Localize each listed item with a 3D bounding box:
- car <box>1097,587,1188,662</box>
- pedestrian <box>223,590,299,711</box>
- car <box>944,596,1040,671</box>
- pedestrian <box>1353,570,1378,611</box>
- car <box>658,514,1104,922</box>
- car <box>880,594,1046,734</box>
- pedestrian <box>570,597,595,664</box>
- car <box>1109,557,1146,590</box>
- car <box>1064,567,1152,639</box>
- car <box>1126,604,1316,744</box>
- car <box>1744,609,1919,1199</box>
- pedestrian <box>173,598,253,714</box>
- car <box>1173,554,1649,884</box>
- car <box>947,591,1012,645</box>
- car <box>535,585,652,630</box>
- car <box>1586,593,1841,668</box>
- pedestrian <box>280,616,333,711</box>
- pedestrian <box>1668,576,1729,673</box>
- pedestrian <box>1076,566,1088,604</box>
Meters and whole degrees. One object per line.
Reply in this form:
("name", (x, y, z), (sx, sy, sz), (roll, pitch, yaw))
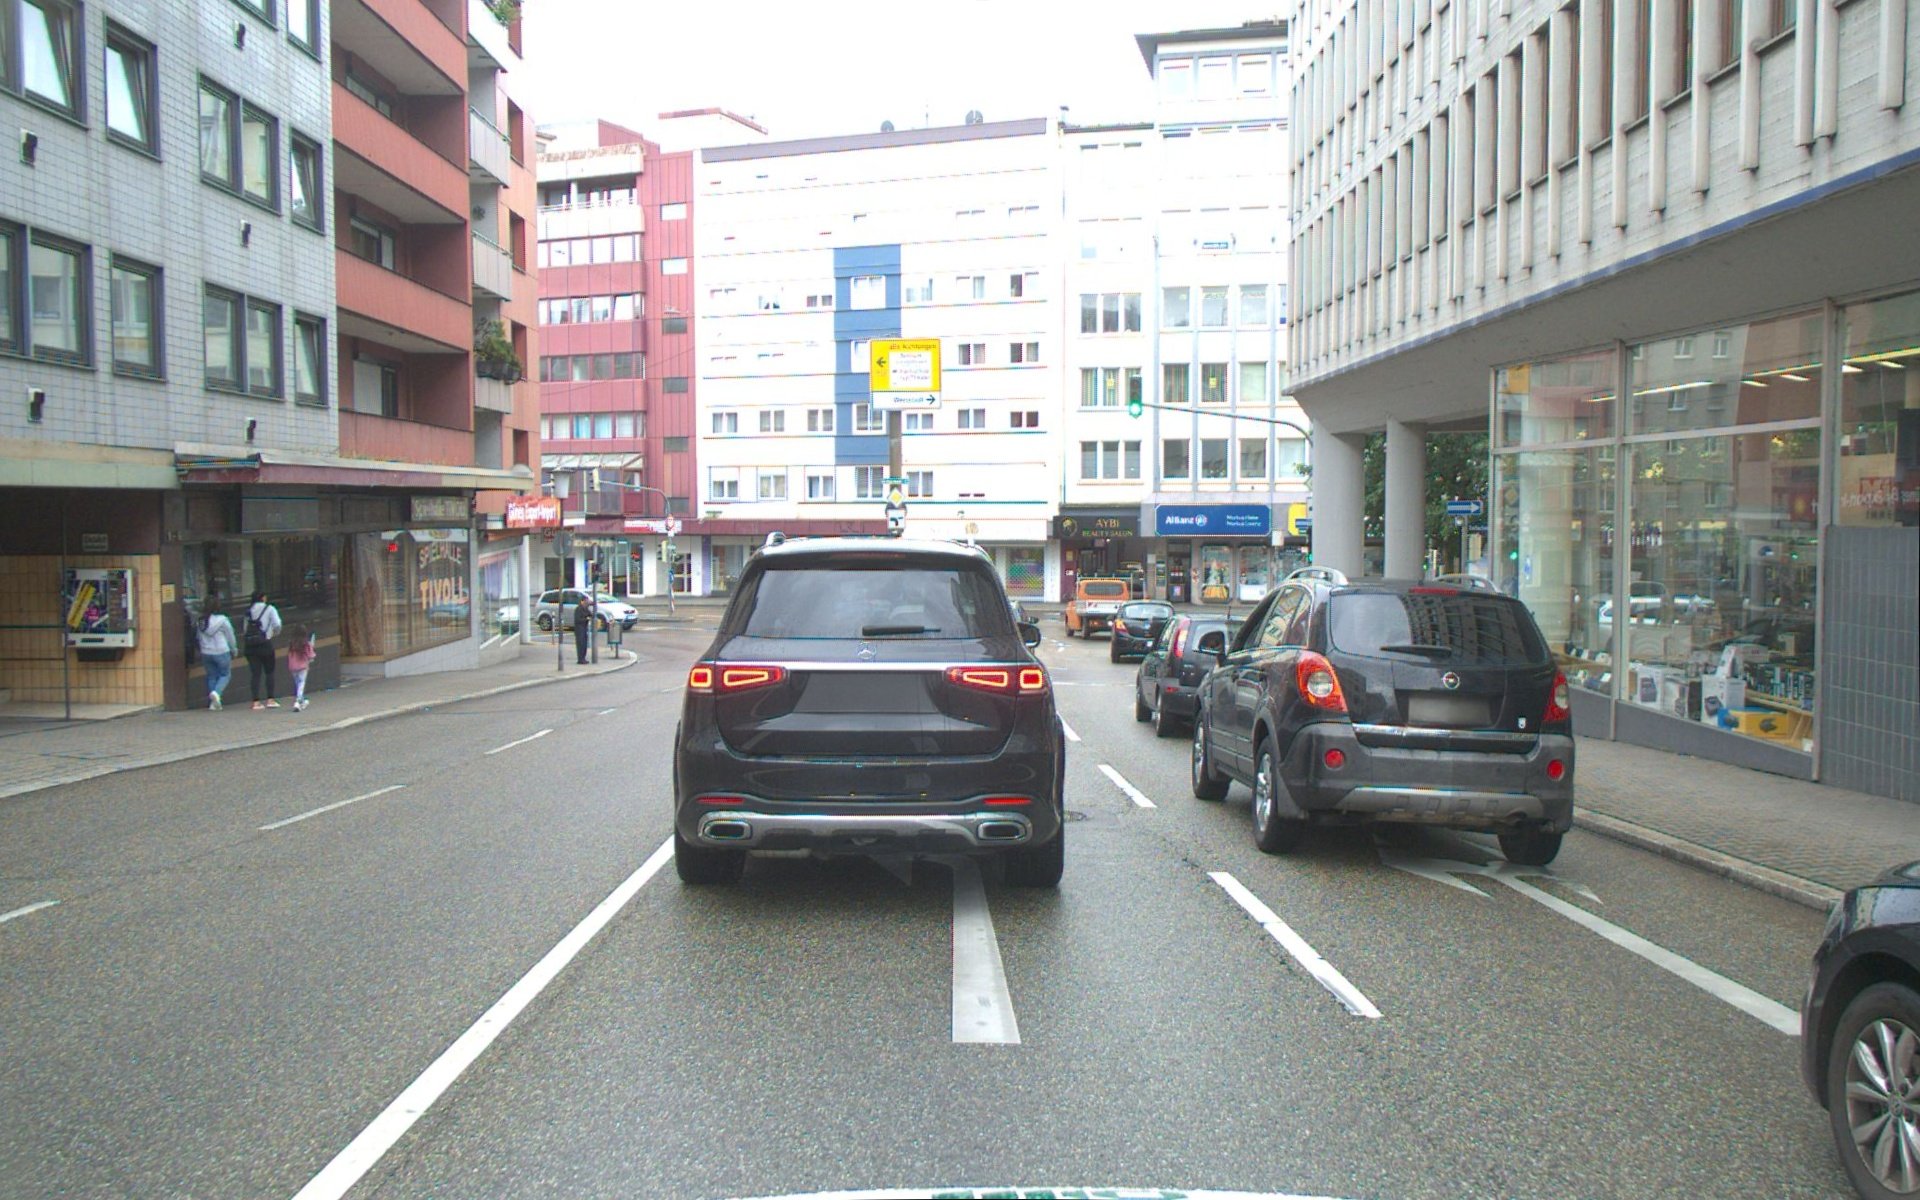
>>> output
("car", (4.404, 0.599, 40.484), (1.785, 1.687, 4.496), (1, -1, 1))
("pedestrian", (-10.180, 0.722, 24.116), (0.812, 1.719, 0.722), (2, 0, -10))
("car", (0.642, 0.678, 36.060), (1.953, 1.512, 4.236), (-1, 0, -1))
("pedestrian", (17.926, -0.424, 73.157), (1.008, 1.717, 0.831), (0, 6, 8))
("car", (-0.439, 0.530, 9.868), (1.998, 1.830, 4.661), (1, 0, -2))
("car", (-0.045, 0.712, 20.731), (1.836, 1.521, 4.398), (1, 0, -2))
("pedestrian", (-9.874, 0.789, 43.312), (0.543, 1.727, 0.623), (0, 0, -4))
("car", (8.996, -1.423, 88.574), (1.759, 1.699, 4.003), (-1, 0, 8))
("car", (4.922, 0.108, 55.830), (2.198, 2.267, 5.425), (1, 0, -3))
("car", (3.109, 0.831, 20.436), (1.730, 1.421, 4.001), (3, 0, 1))
("car", (3.243, 0.831, 2.912), (1.655, 1.503, 3.998), (3, 0, -2))
("pedestrian", (-10.517, 0.779, 23.311), (0.812, 1.588, 0.722), (2, 0, -10))
("car", (2.782, 0.648, 11.362), (1.859, 1.724, 4.504), (3, 0, -2))
("car", (0.561, 0.578, 51.723), (1.885, 1.542, 4.661), (2, -1, -1))
("car", (-13.959, 0.261, 63.021), (4.077, 1.620, 1.740), (1, 1, 23))
("car", (16.348, 0.613, 36.024), (4.763, 1.521, 1.847), (0, 0, 41))
("pedestrian", (-9.506, 0.913, 24.083), (0.523, 1.346, 0.722), (2, 0, -9))
("pedestrian", (14.485, 0.473, 32.467), (0.707, 1.849, 0.829), (-2, -1, -7))
("pedestrian", (5.682, -0.711, 76.965), (0.552, 1.717, 0.757), (0, 6, 5))
